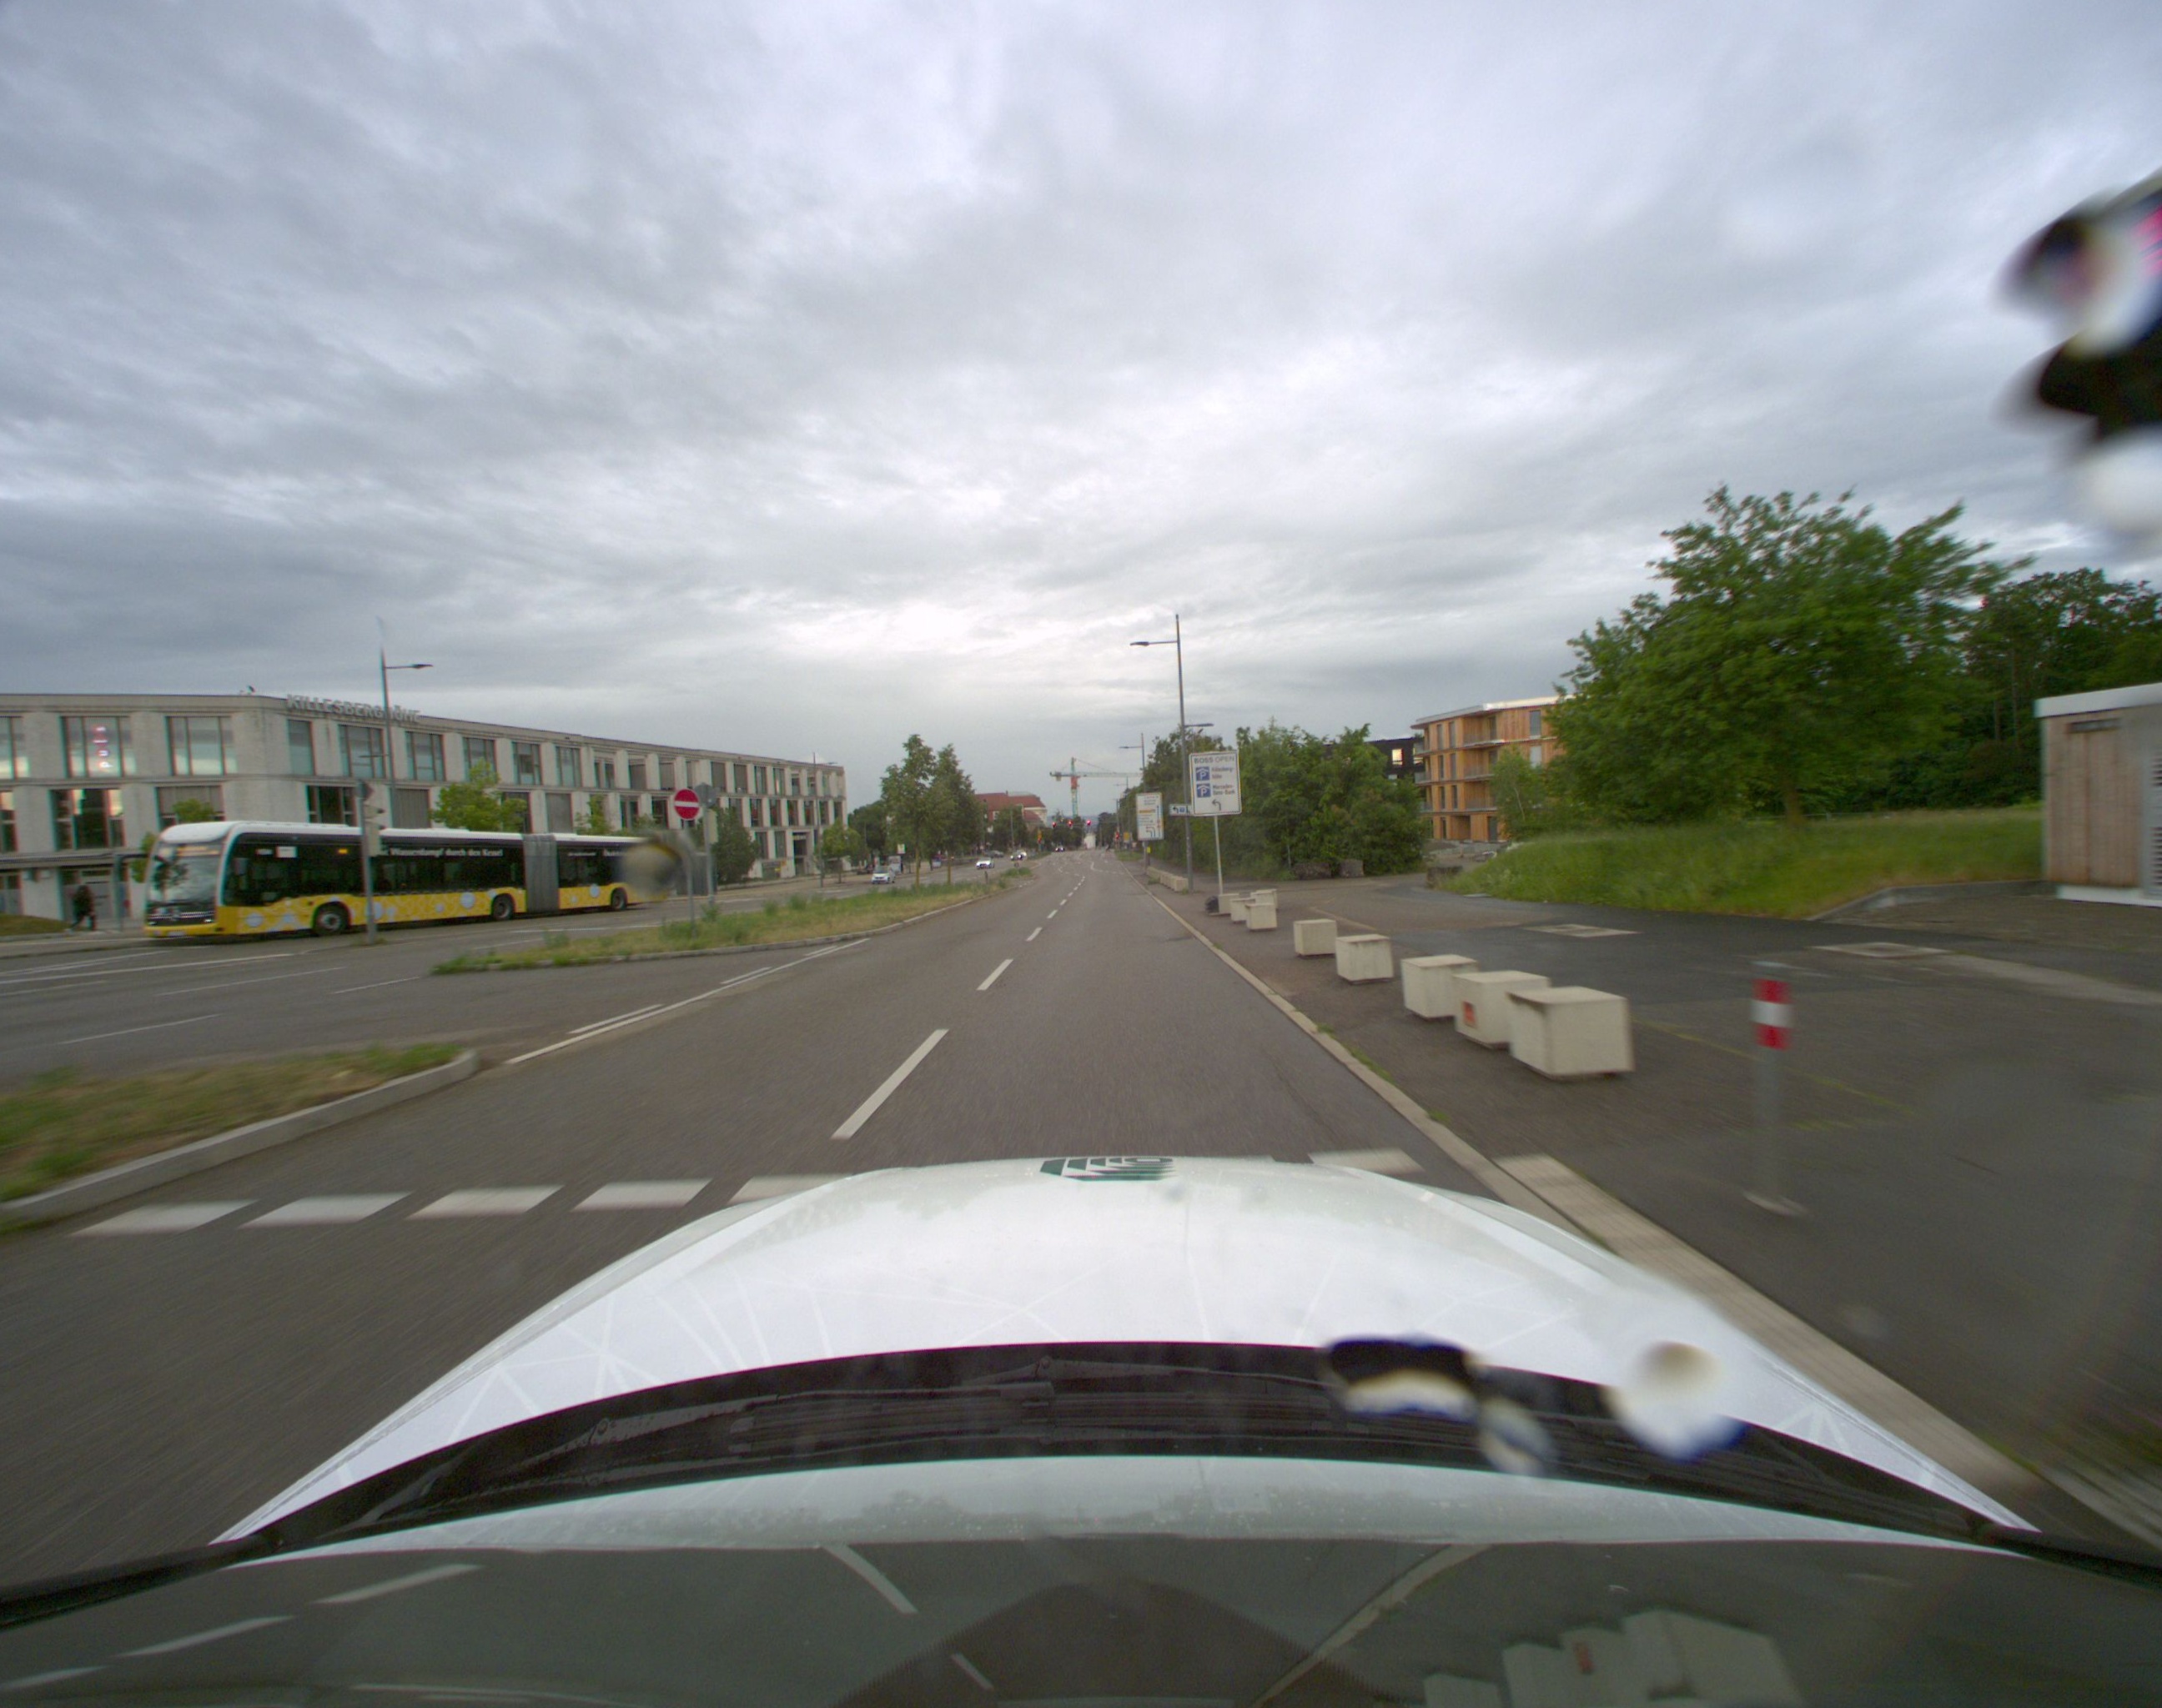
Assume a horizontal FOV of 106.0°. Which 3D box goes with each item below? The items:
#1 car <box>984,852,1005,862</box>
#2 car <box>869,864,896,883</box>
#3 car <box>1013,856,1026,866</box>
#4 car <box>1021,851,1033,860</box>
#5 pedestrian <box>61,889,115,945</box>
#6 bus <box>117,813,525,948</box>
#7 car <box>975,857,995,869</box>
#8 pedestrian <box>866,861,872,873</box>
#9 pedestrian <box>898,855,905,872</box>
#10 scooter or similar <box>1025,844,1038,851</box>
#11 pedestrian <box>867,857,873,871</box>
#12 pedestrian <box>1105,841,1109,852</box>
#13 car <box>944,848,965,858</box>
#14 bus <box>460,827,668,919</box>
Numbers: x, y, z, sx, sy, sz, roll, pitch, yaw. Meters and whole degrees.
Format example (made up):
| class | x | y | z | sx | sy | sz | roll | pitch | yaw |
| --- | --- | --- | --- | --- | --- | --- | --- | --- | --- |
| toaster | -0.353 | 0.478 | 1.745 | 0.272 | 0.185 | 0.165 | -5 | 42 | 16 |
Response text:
| class | x | y | z | sx | sy | sz | roll | pitch | yaw |
| --- | --- | --- | --- | --- | --- | --- | --- | --- | --- |
| car | -17.926 | 0.676 | 168.874 | 3.948 | 1.878 | 2.013 | -2 | -1 | 38 |
| car | -17.783 | 1.710 | 73.008 | 1.608 | 1.508 | 2.974 | -2 | 0 | 1 |
| car | -10.518 | 1.238 | 139.489 | 1.840 | 1.462 | 3.869 | -4 | 0 | 2 |
| car | -10.552 | 0.307 | 158.529 | 1.866 | 1.429 | 4.177 | -6 | 0 | 2 |
| pedestrian | -31.713 | 1.991 | 26.017 | 0.558 | 1.696 | 0.873 | -3 | 0 | 5 |
| bus | -23.452 | 0.730 | 26.405 | 2.805 | 3.472 | 9.999 | -2 | 0 | 9 |
| car | -12.538 | 1.161 | 106.725 | 1.986 | 1.418 | 4.515 | -3 | 0 | 2 |
| pedestrian | -25.573 | 1.538 | 98.266 | 0.424 | 1.451 | 0.510 | -3 | 1 | 2 |
| pedestrian | -20.151 | 1.034 | 91.544 | 0.505 | 1.842 | 0.756 | -3 | 1 | 1 |
| scooter or similar | -12.846 | -1.734 | 211.666 | 3.078 | 1.440 | 0.949 | -4 | 1 | -1 |
| pedestrian | -25.715 | 1.185 | 99.345 | 0.424 | 1.725 | 0.621 | -3 | 1 | 2 |
| pedestrian | 4.887 | -1.339 | 151.576 | 0.398 | 2.013 | 0.514 | -6 | 1 | 7 |
| car | -26.709 | -0.145 | 172.146 | 3.951 | 1.916 | 2.012 | -3 | 0 | 24 |
| bus | -22.024 | 0.749 | 35.492 | 2.805 | 3.472 | 8.251 | -2 | 0 | 9 |
